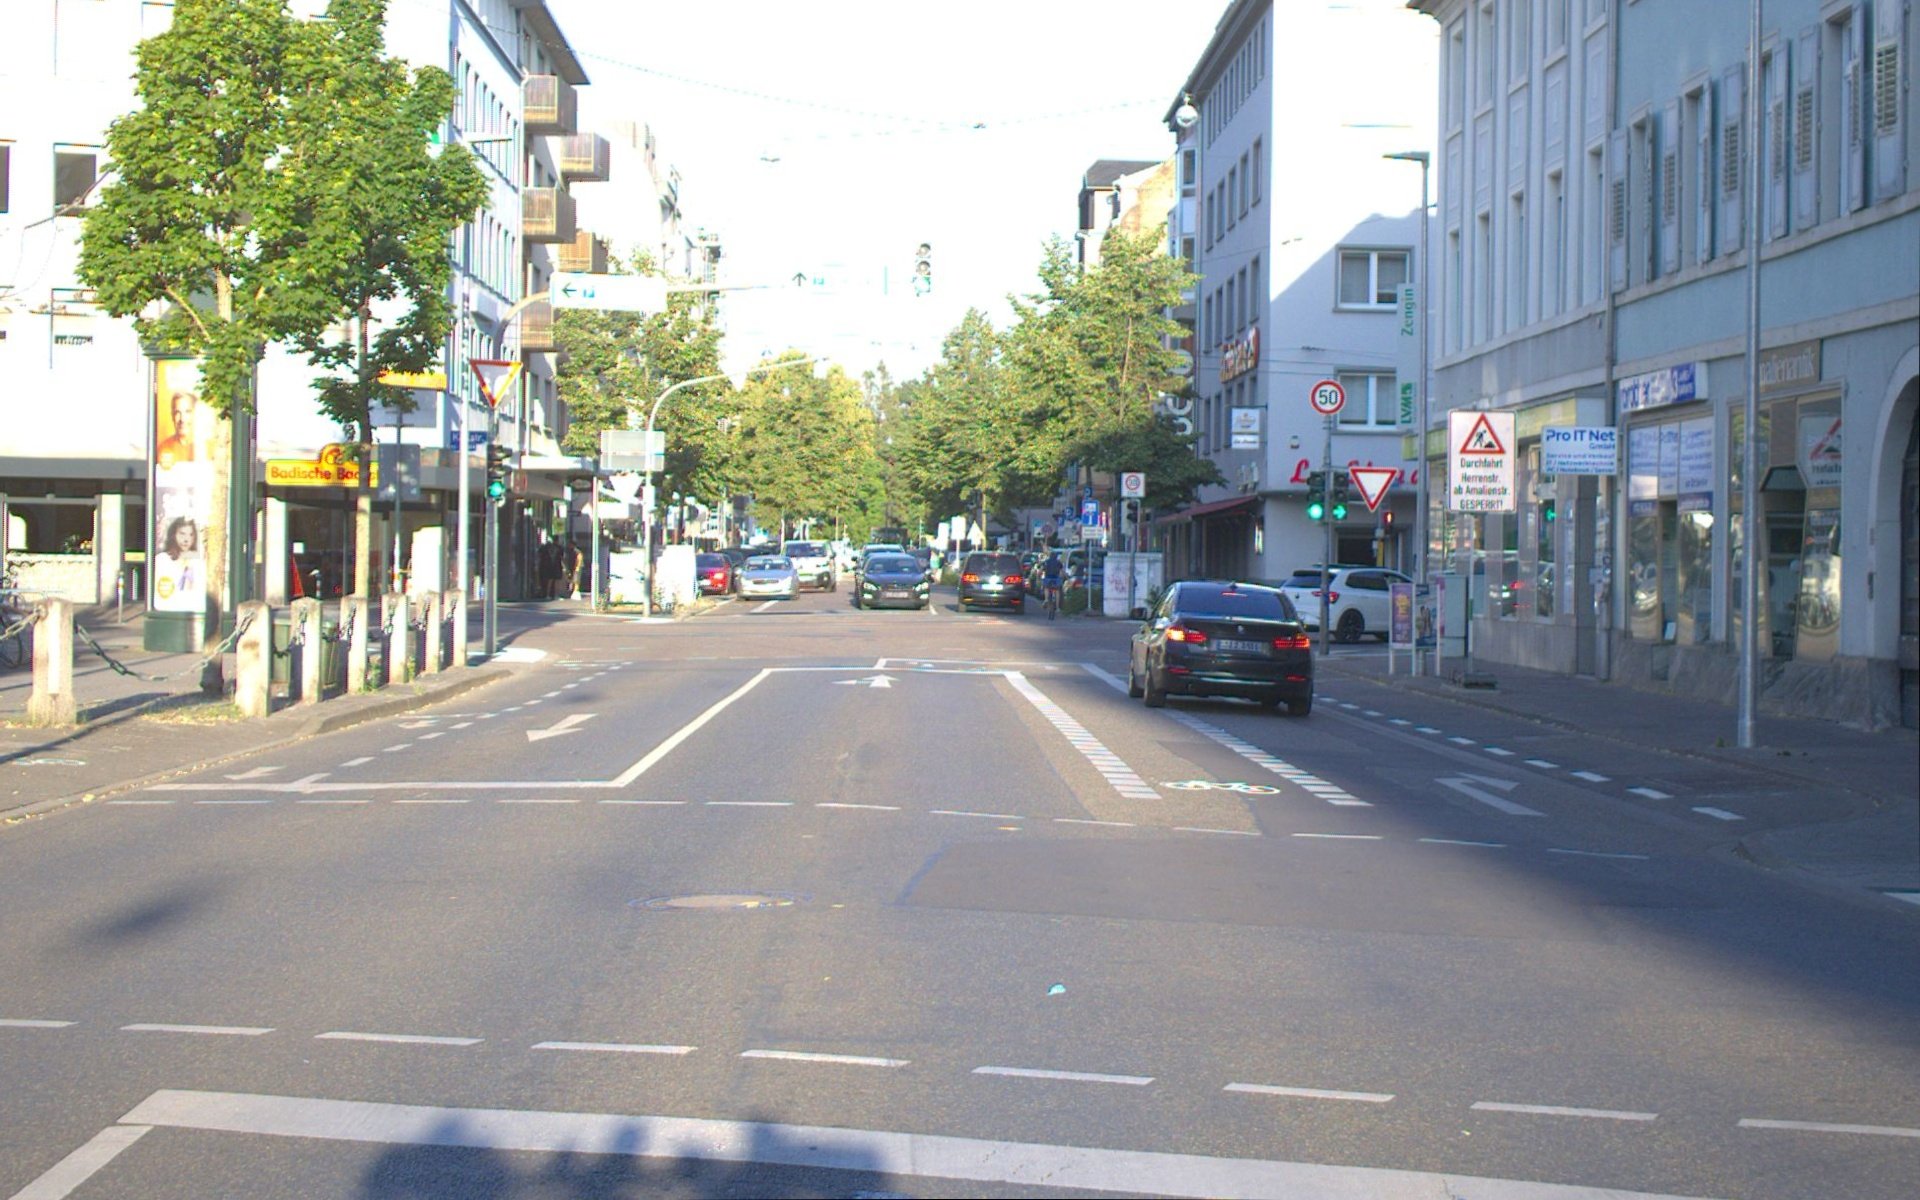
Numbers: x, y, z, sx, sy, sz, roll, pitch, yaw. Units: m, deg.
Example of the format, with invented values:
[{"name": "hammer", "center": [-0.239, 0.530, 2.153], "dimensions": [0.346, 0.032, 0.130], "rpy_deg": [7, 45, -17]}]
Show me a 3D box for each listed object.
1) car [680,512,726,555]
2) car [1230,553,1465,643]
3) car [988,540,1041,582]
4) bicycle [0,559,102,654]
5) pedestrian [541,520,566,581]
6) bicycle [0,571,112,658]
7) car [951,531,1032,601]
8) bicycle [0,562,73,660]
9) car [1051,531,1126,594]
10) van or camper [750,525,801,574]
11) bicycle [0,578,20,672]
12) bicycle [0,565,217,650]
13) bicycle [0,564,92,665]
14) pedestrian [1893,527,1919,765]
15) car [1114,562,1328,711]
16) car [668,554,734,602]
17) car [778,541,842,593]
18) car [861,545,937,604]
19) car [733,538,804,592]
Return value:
[{"name": "car", "center": [-12.415, -3.205, 166.280], "dimensions": [1.828, 2.007, 3.676], "rpy_deg": [2, 1, 1]}, {"name": "car", "center": [7.405, -0.037, 65.638], "dimensions": [3.882, 1.598, 2.341], "rpy_deg": [1, 1, -37]}, {"name": "car", "center": [2.181, -1.567, 138.131], "dimensions": [1.780, 1.590, 3.635], "rpy_deg": [1, 1, -4]}, {"name": "bicycle", "center": [-11.724, 0.067, 41.869], "dimensions": [2.323, 1.127, 0.800], "rpy_deg": [1, 1, 1]}, {"name": "pedestrian", "center": [-11.618, -1.420, 98.286], "dimensions": [0.600, 1.715, 0.578], "rpy_deg": [1, 1, -15]}, {"name": "bicycle", "center": [-11.801, 0.175, 43.220], "dimensions": [2.091, 1.060, 0.682], "rpy_deg": [1, 1, 0]}, {"name": "car", "center": [0.806, -0.914, 90.386], "dimensions": [1.993, 1.744, 4.000], "rpy_deg": [1, 1, -1]}, {"name": "bicycle", "center": [-11.790, 0.116, 40.953], "dimensions": [2.235, 1.131, 0.812], "rpy_deg": [1, 1, -3]}, {"name": "car", "center": [3.757, -1.109, 101.329], "dimensions": [1.993, 1.773, 4.000], "rpy_deg": [2, 1, 0]}, {"name": "van or camper", "center": [-9.530, -2.616, 177.140], "dimensions": [2.472, 2.397, 4.001], "rpy_deg": [2, 1, -5]}, {"name": "bicycle", "center": [-11.526, 0.241, 37.063], "dimensions": [2.523, 0.994, 0.934], "rpy_deg": [1, 1, -3]}, {"name": "bicycle", "center": [-11.100, 0.089, 44.097], "dimensions": [2.942, 1.019, 0.843], "rpy_deg": [1, 1, 2]}, {"name": "bicycle", "center": [-11.383, 0.152, 39.741], "dimensions": [2.523, 1.142, 0.701], "rpy_deg": [1, 1, -3]}, {"name": "pedestrian", "center": [7.549, 0.353, 25.674], "dimensions": [0.757, 1.771, 1.049], "rpy_deg": [1, 1, -5]}, {"name": "car", "center": [2.841, 0.361, 38.230], "dimensions": [1.888, 1.486, 4.205], "rpy_deg": [2, 1, -2]}, {"name": "car", "center": [-8.960, -0.777, 119.263], "dimensions": [1.894, 1.590, 4.000], "rpy_deg": [2, 1, 1]}, {"name": "car", "center": [-5.249, -1.186, 120.872], "dimensions": [1.993, 1.744, 4.000], "rpy_deg": [2, 1, 1]}, {"name": "car", "center": [-1.611, -0.688, 91.841], "dimensions": [1.885, 1.481, 4.000], "rpy_deg": [1, 1, 1]}, {"name": "car", "center": [-5.925, -1.097, 106.760], "dimensions": [1.894, 1.590, 4.000], "rpy_deg": [2, 1, 1]}]
